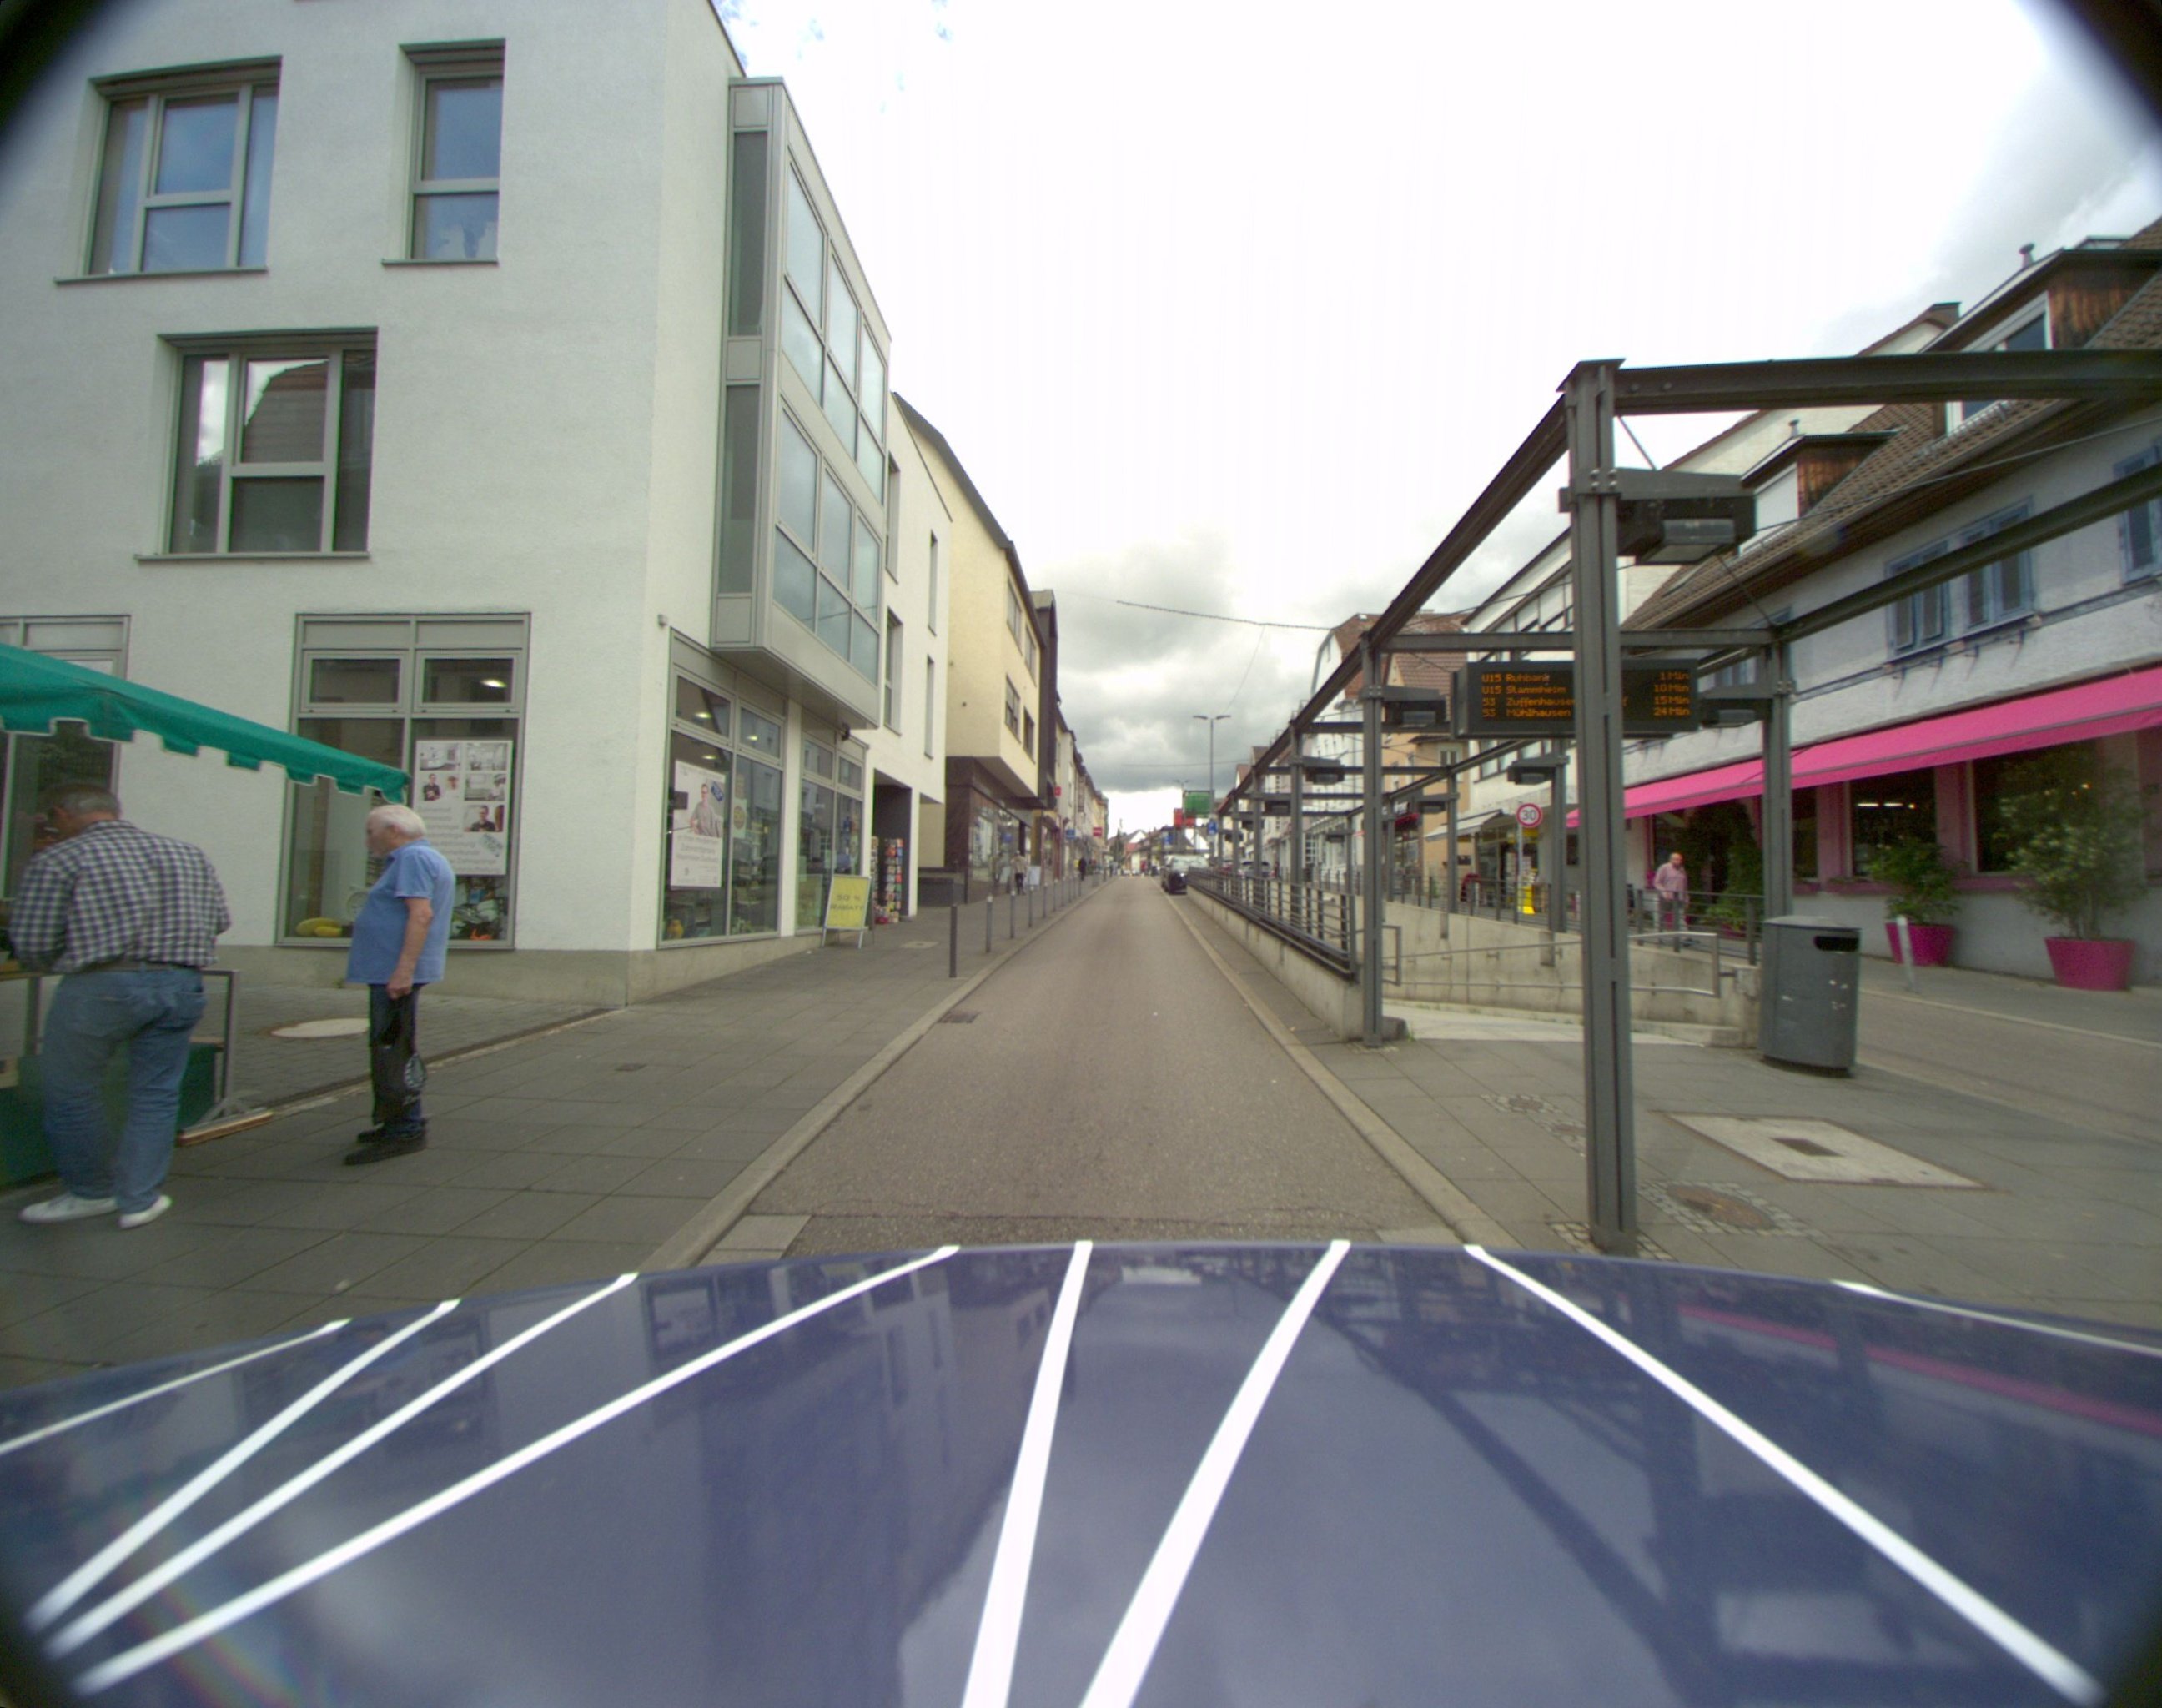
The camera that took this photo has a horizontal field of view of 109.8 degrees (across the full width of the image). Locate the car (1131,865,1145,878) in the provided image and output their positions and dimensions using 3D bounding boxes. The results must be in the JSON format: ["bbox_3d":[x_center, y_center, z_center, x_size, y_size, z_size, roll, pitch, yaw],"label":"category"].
[{"bbox_3d":[8.761,2.670,117.120,1.998,2.002,4.001,1,0,4],"label":"car"}]

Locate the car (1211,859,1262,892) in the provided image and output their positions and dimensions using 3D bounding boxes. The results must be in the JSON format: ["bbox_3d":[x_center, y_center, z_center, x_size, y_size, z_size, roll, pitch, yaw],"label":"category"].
[{"bbox_3d":[7.995,1.076,39.445,1.998,1.580,4.496,-1,0,4],"label":"car"}]

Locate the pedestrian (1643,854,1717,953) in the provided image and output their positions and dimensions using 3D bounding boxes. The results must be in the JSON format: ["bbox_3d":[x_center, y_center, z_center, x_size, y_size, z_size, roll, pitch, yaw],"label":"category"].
[{"bbox_3d":[10.896,0.878,13.845,0.695,1.729,0.825,1,0,6],"label":"pedestrian"}]

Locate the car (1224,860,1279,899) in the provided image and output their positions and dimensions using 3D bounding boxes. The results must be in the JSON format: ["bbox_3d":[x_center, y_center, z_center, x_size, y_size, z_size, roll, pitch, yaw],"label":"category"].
[{"bbox_3d":[7.177,1.053,32.282,1.703,1.538,3.900,-1,0,4],"label":"car"}]

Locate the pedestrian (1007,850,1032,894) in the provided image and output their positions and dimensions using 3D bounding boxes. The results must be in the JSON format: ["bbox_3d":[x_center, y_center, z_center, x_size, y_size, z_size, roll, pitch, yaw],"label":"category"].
[{"bbox_3d":[-2.389,0.695,29.564,0.759,1.663,0.780,4,0,1],"label":"pedestrian"}]

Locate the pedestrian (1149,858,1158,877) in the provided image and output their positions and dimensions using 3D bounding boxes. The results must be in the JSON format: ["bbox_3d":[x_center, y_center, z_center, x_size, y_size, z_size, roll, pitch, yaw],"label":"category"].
[{"bbox_3d":[6.782,1.263,71.180,0.761,1.764,0.851,1,0,-3],"label":"pedestrian"}]

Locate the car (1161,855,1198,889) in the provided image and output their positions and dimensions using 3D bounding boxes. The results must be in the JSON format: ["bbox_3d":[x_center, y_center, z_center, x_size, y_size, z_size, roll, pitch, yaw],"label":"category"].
[{"bbox_3d":[4.899,0.845,38.061,1.576,1.600,3.534,1,0,4],"label":"car"}]

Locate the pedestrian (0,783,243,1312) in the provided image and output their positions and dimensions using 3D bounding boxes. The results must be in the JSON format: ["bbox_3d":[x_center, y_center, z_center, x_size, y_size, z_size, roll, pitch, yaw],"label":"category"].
[{"bbox_3d":[-3.920,0.674,3.032,0.704,1.846,0.778,1,0,-44],"label":"pedestrian"}]

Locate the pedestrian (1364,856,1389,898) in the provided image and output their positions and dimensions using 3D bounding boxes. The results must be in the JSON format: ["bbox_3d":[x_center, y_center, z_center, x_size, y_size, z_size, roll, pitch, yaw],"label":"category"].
[{"bbox_3d":[12.085,0.941,31.093,0.748,1.704,0.664,1,0,4],"label":"pedestrian"}]

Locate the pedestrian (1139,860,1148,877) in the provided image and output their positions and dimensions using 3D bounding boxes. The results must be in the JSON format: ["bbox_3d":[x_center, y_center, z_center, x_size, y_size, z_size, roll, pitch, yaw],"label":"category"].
[{"bbox_3d":[5.764,1.350,70.115,0.662,1.519,0.705,1,0,-3],"label":"pedestrian"}]

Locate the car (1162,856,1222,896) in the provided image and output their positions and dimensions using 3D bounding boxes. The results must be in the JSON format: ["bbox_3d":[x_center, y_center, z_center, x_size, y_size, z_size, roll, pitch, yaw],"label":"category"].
[{"bbox_3d":[4.591,0.885,32.023,1.998,1.557,4.432,-1,0,2],"label":"car"}]

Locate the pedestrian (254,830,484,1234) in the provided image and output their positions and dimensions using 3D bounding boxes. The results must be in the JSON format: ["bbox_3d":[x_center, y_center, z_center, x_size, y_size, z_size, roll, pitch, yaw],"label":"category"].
[{"bbox_3d":[-3.487,0.771,3.737,0.701,1.756,0.627,1,0,29],"label":"pedestrian"}]

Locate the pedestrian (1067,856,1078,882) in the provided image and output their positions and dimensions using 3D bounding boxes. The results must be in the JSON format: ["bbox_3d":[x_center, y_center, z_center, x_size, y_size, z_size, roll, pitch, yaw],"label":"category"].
[{"bbox_3d":[-0.565,1.013,50.486,0.639,1.689,0.708,1,0,-2],"label":"pedestrian"}]

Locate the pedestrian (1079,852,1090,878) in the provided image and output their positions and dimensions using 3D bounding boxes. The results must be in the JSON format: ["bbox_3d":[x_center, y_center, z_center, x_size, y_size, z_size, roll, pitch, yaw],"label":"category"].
[{"bbox_3d":[0.255,0.745,50.874,0.663,1.696,0.780,1,0,1],"label":"pedestrian"}]
